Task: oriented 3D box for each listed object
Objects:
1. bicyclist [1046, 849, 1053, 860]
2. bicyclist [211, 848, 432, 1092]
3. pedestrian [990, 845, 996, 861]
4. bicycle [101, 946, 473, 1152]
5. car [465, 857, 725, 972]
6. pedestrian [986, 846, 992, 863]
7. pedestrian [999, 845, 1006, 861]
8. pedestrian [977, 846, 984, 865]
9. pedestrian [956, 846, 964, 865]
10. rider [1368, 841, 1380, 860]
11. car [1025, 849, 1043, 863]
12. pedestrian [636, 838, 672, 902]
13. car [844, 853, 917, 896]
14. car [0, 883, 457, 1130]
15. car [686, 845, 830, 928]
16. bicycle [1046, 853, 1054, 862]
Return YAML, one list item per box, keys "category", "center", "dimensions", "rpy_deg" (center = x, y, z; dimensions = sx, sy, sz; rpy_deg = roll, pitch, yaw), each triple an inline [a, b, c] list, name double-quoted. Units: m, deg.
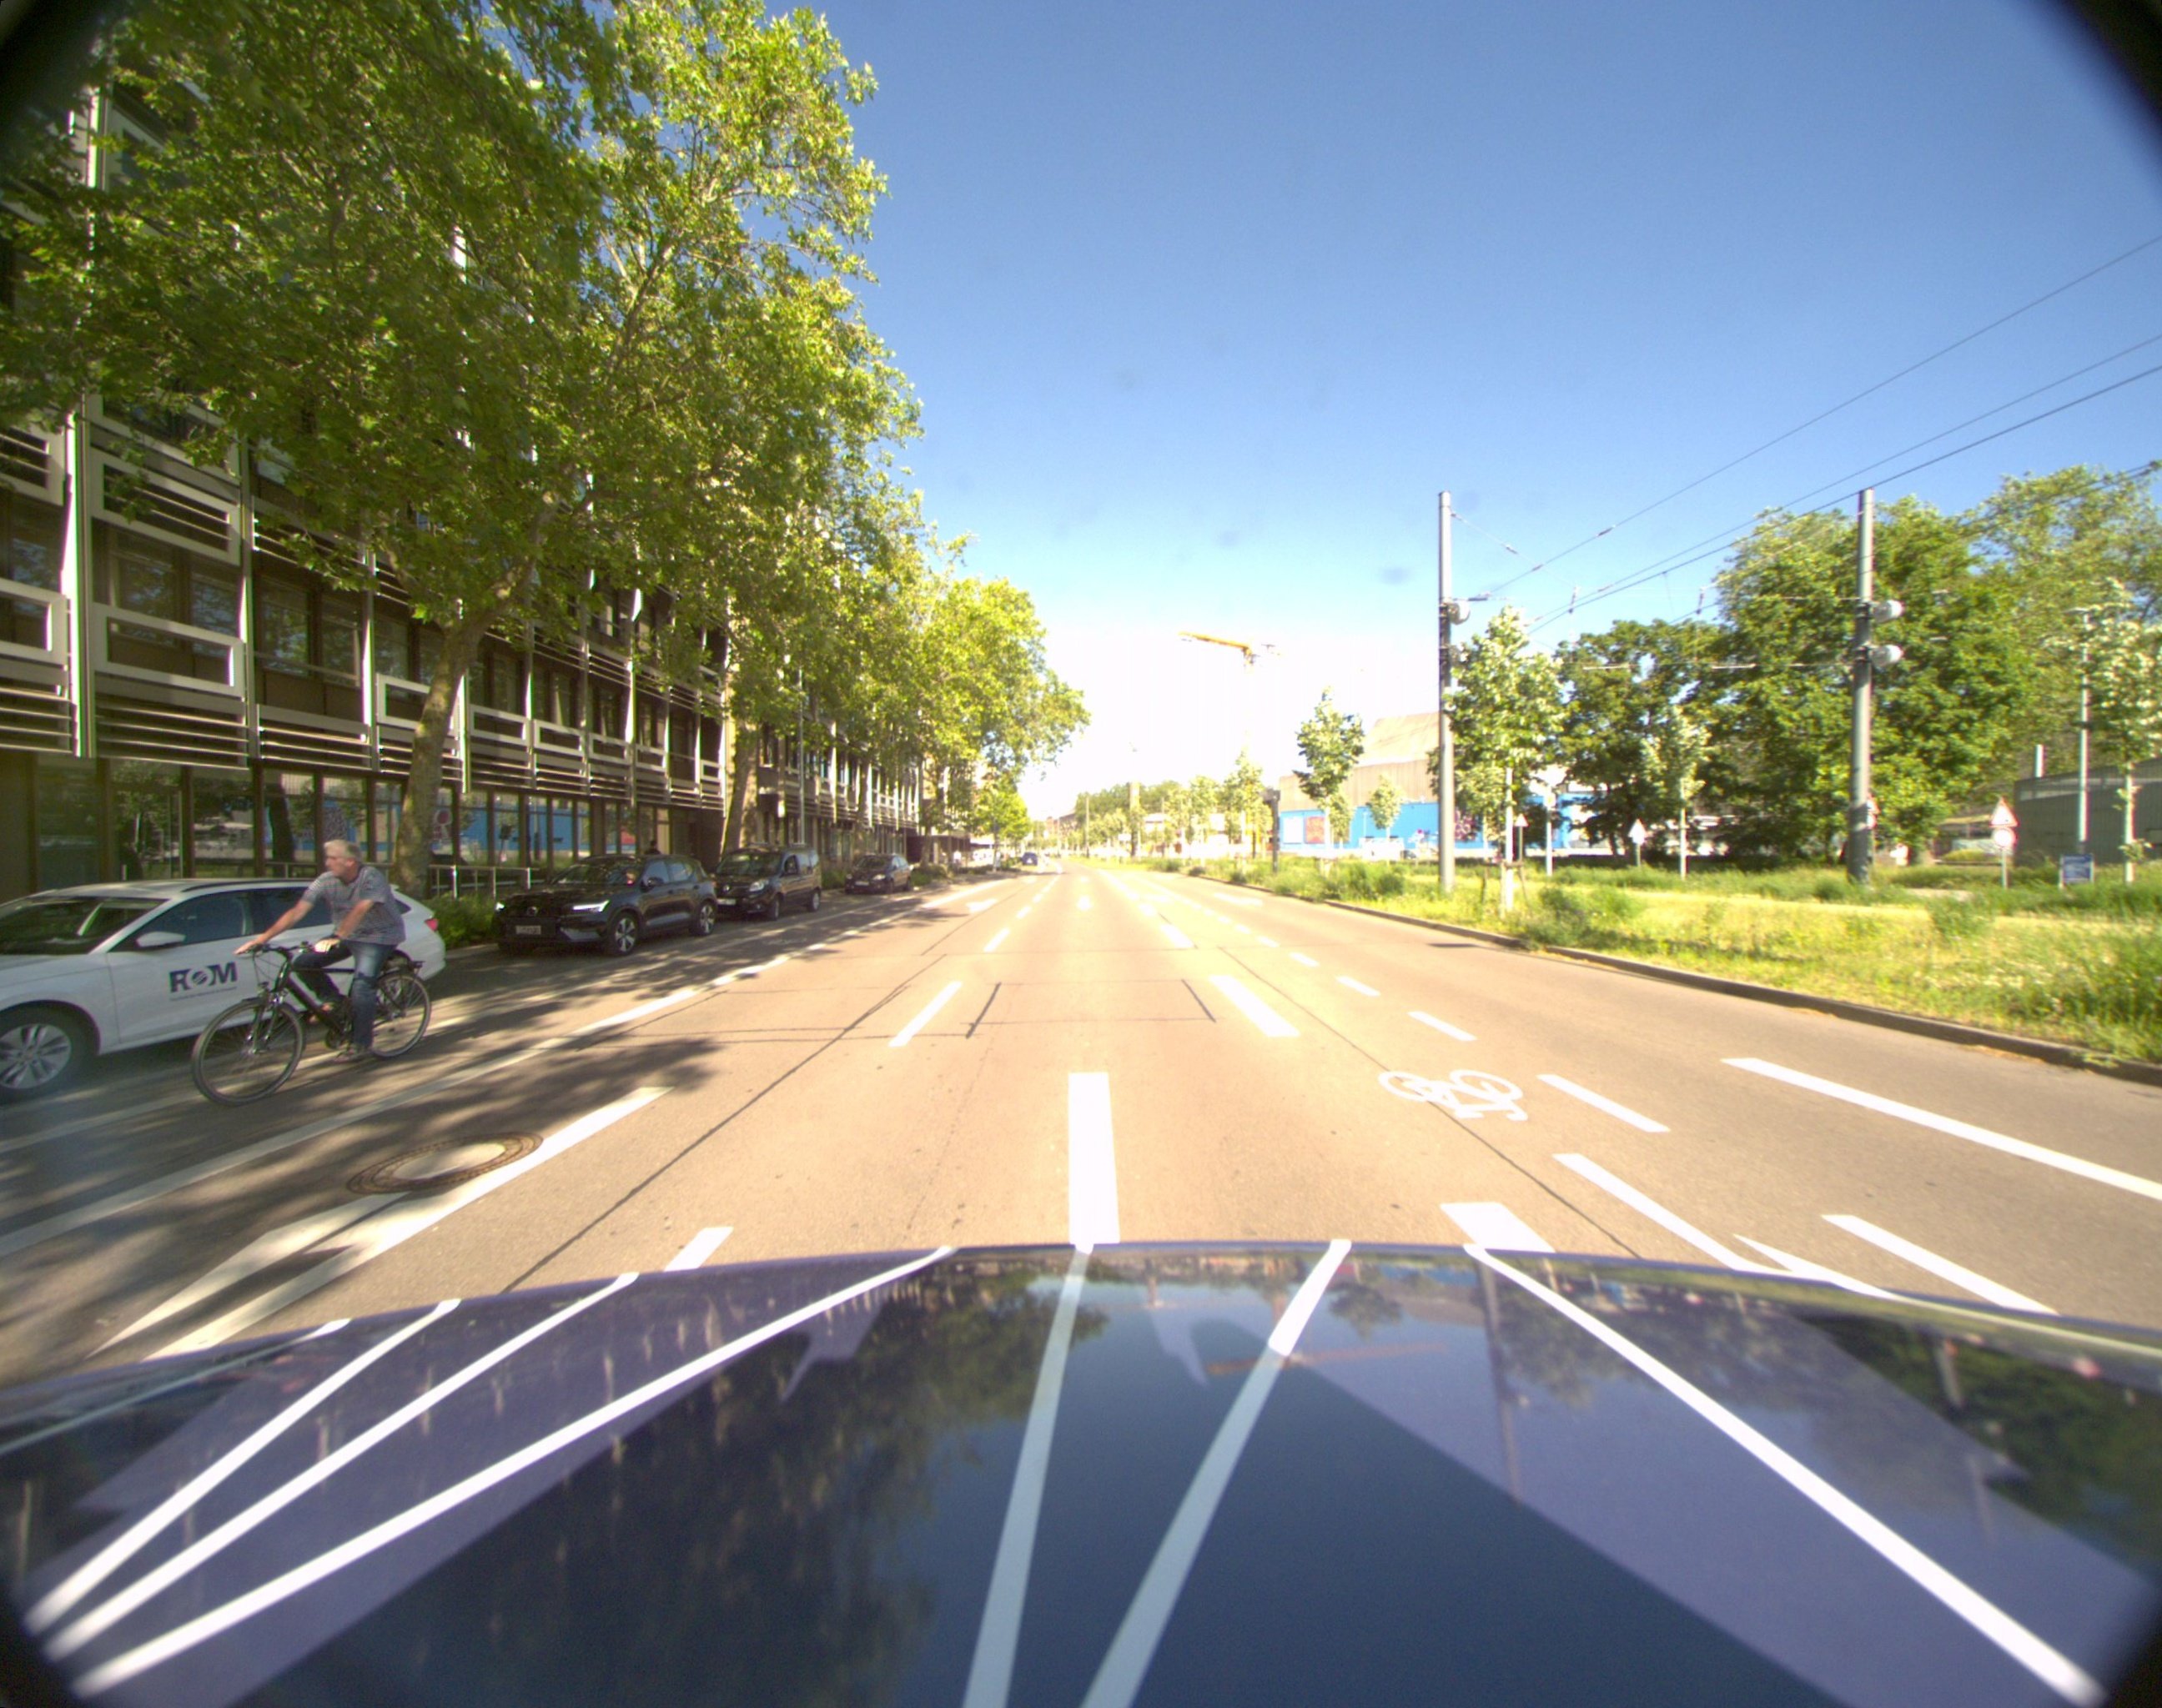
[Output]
- category: "bicyclist"
  center: [-3.982, 0.054, 96.755]
  dimensions: [0.830, 1.380, 0.903]
  rpy_deg: [-1, 1, 1]
- category: "bicyclist"
  center: [-5.665, 0.809, 5.735]
  dimensions: [0.711, 1.678, 0.852]
  rpy_deg: [-3, 1, -1]
- category: "pedestrian"
  center: [-10.270, -0.123, 89.050]
  dimensions: [0.591, 1.830, 0.569]
  rpy_deg: [-1, 1, 0]
- category: "bicycle"
  center: [-5.643, 1.315, 5.629]
  dimensions: [0.711, 0.987, 1.923]
  rpy_deg: [-3, 0, -1]
- category: "car"
  center: [-8.121, 0.895, 13.270]
  dimensions: [1.752, 1.624, 4.336]
  rpy_deg: [1, 0, 0]
- category: "pedestrian"
  center: [-9.841, 0.019, 81.184]
  dimensions: [0.591, 1.830, 0.569]
  rpy_deg: [-1, 1, 0]
- category: "pedestrian"
  center: [-8.521, -0.110, 82.611]
  dimensions: [0.591, 1.830, 0.569]
  rpy_deg: [-1, 1, 0]
- category: "pedestrian"
  center: [-10.082, 0.144, 75.916]
  dimensions: [0.591, 1.830, 0.696]
  rpy_deg: [-1, 1, 0]
- category: "pedestrian"
  center: [-11.551, 0.135, 72.621]
  dimensions: [0.591, 1.830, 0.697]
  rpy_deg: [-1, 1, 0]
- category: "rider"
  center: [23.430, -0.282, 60.723]
  dimensions: [0.724, 1.513, 0.631]
  rpy_deg: [-1, 1, -2]
- category: "car"
  center: [-5.726, 0.228, 93.238]
  dimensions: [1.999, 1.598, 3.895]
  rpy_deg: [-1, 0, -1]
- category: "pedestrian"
  center: [-13.543, 0.495, 24.131]
  dimensions: [0.741, 2.002, 0.626]
  rpy_deg: [-1, 1, -2]
- category: "car"
  center: [-7.937, 0.763, 30.443]
  dimensions: [1.752, 1.545, 4.336]
  rpy_deg: [1, 0, 0]
- category: "car"
  center: [-8.173, 1.103, 6.591]
  dimensions: [1.752, 1.481, 4.559]
  rpy_deg: [1, 0, 0]
- category: "car"
  center: [-7.884, 0.705, 19.034]
  dimensions: [1.752, 1.811, 4.336]
  rpy_deg: [1, 0, 0]
- category: "bicycle"
  center: [-3.986, 0.452, 96.758]
  dimensions: [0.845, 1.123, 2.553]
  rpy_deg: [-1, 0, 1]
